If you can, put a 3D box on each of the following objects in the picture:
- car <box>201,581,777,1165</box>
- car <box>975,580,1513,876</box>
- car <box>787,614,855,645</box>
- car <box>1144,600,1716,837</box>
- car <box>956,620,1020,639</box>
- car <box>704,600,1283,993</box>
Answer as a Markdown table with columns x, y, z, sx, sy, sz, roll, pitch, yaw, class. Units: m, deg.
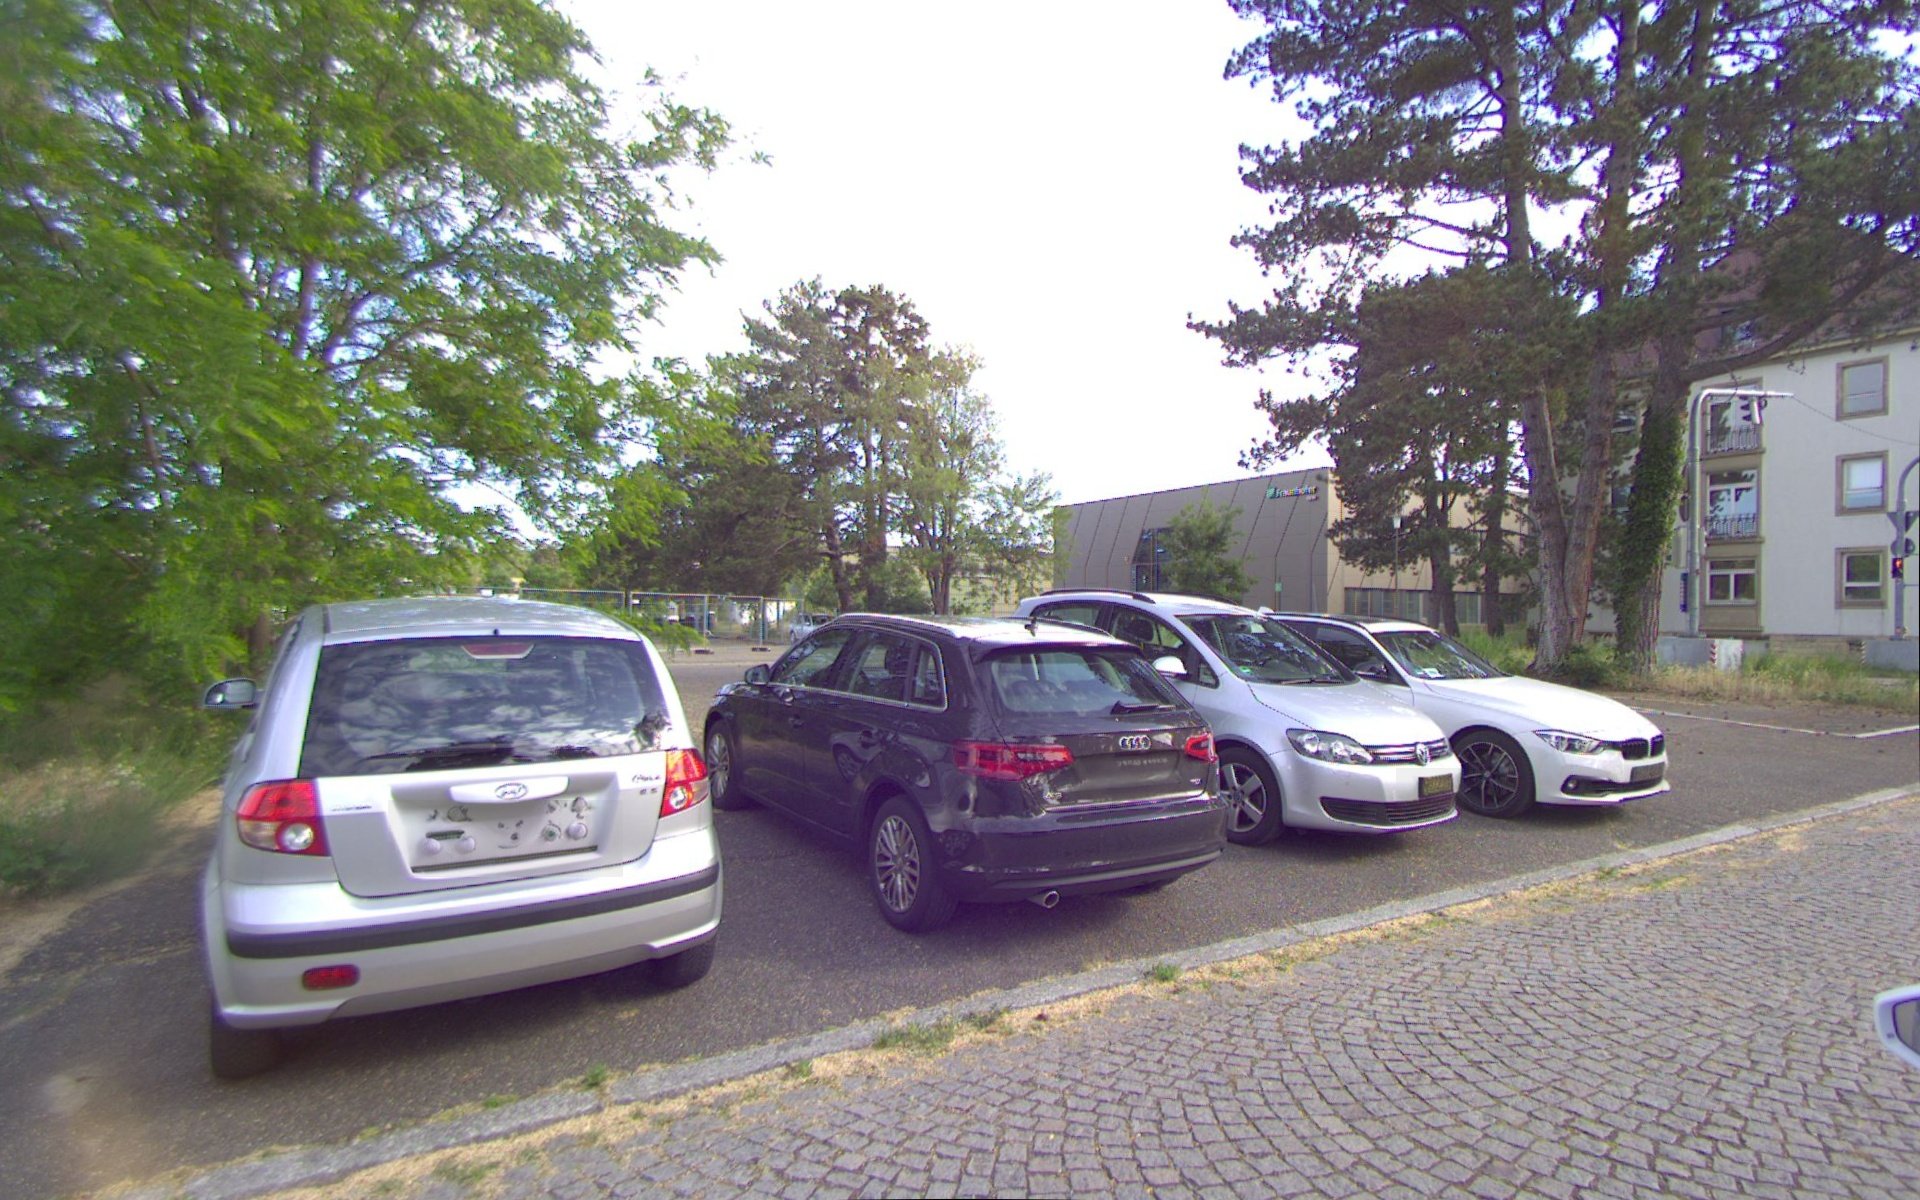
| x | y | z | sx | sy | sz | roll | pitch | yaw | class |
| --- | --- | --- | --- | --- | --- | --- | --- | --- | --- |
| -2.319 | 0.731 | 4.655 | 1.630 | 1.495 | 3.555 | 1 | 2 | -33 | car |
| 1.907 | 0.717 | 7.812 | 1.717 | 1.629 | 3.808 | 1 | 1 | -33 | car |
| -6.448 | 1.338 | 46.247 | 1.576 | 1.355 | 3.705 | 1 | -1 | -36 | car |
| 3.940 | 0.827 | 9.246 | 1.811 | 1.461 | 4.449 | 1 | 2 | -34 | car |
| 1.917 | 2.017 | 68.394 | 4.145 | 1.289 | 1.599 | 1 | -1 | -28 | car |
| -0.146 | 0.801 | 6.082 | 1.676 | 1.427 | 3.815 | 1 | 2 | -31 | car |
